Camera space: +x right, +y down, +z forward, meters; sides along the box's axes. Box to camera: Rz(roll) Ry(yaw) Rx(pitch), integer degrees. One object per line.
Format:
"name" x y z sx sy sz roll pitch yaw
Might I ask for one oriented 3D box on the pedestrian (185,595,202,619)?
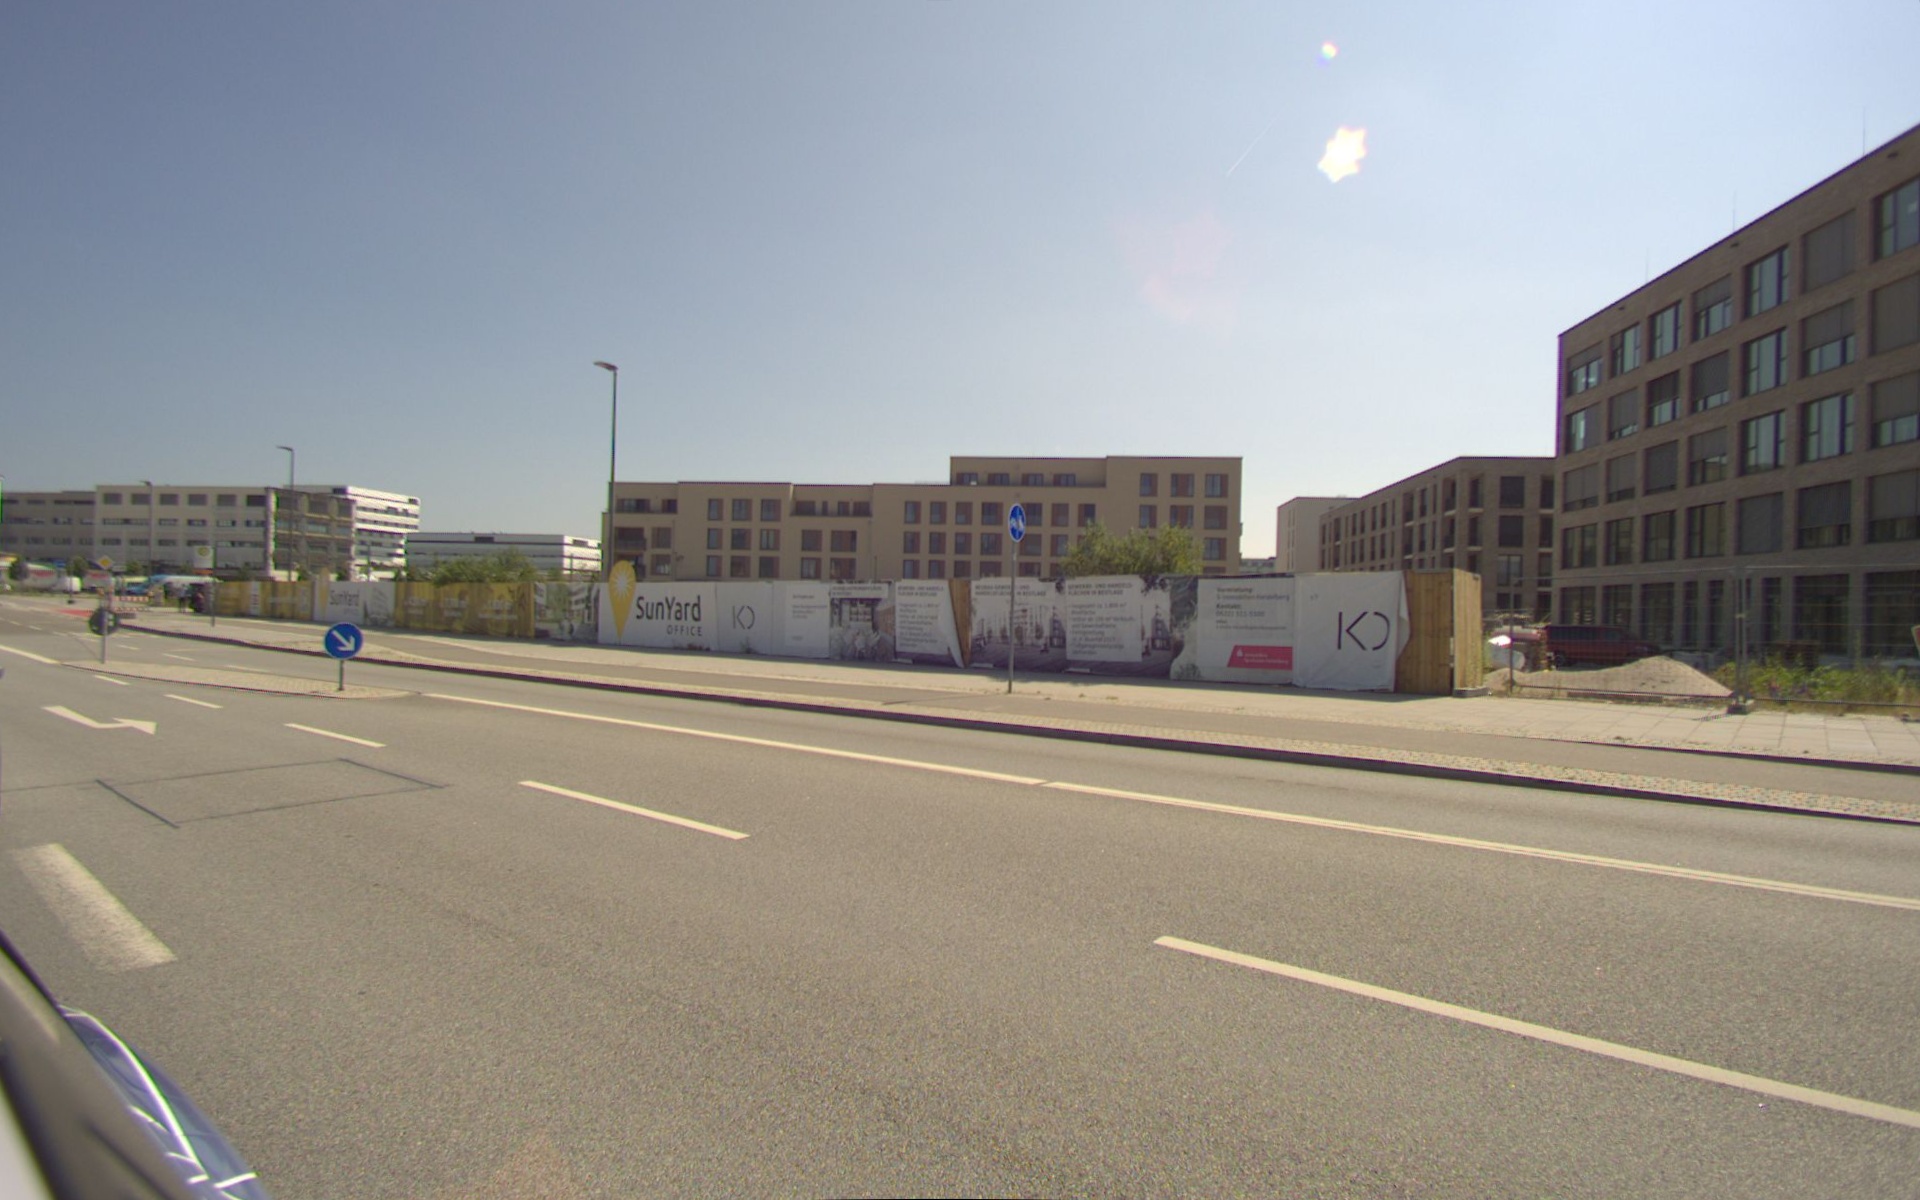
"pedestrian" -50.722 0.467 66.962 0.610 1.598 0.703 0 0 5
